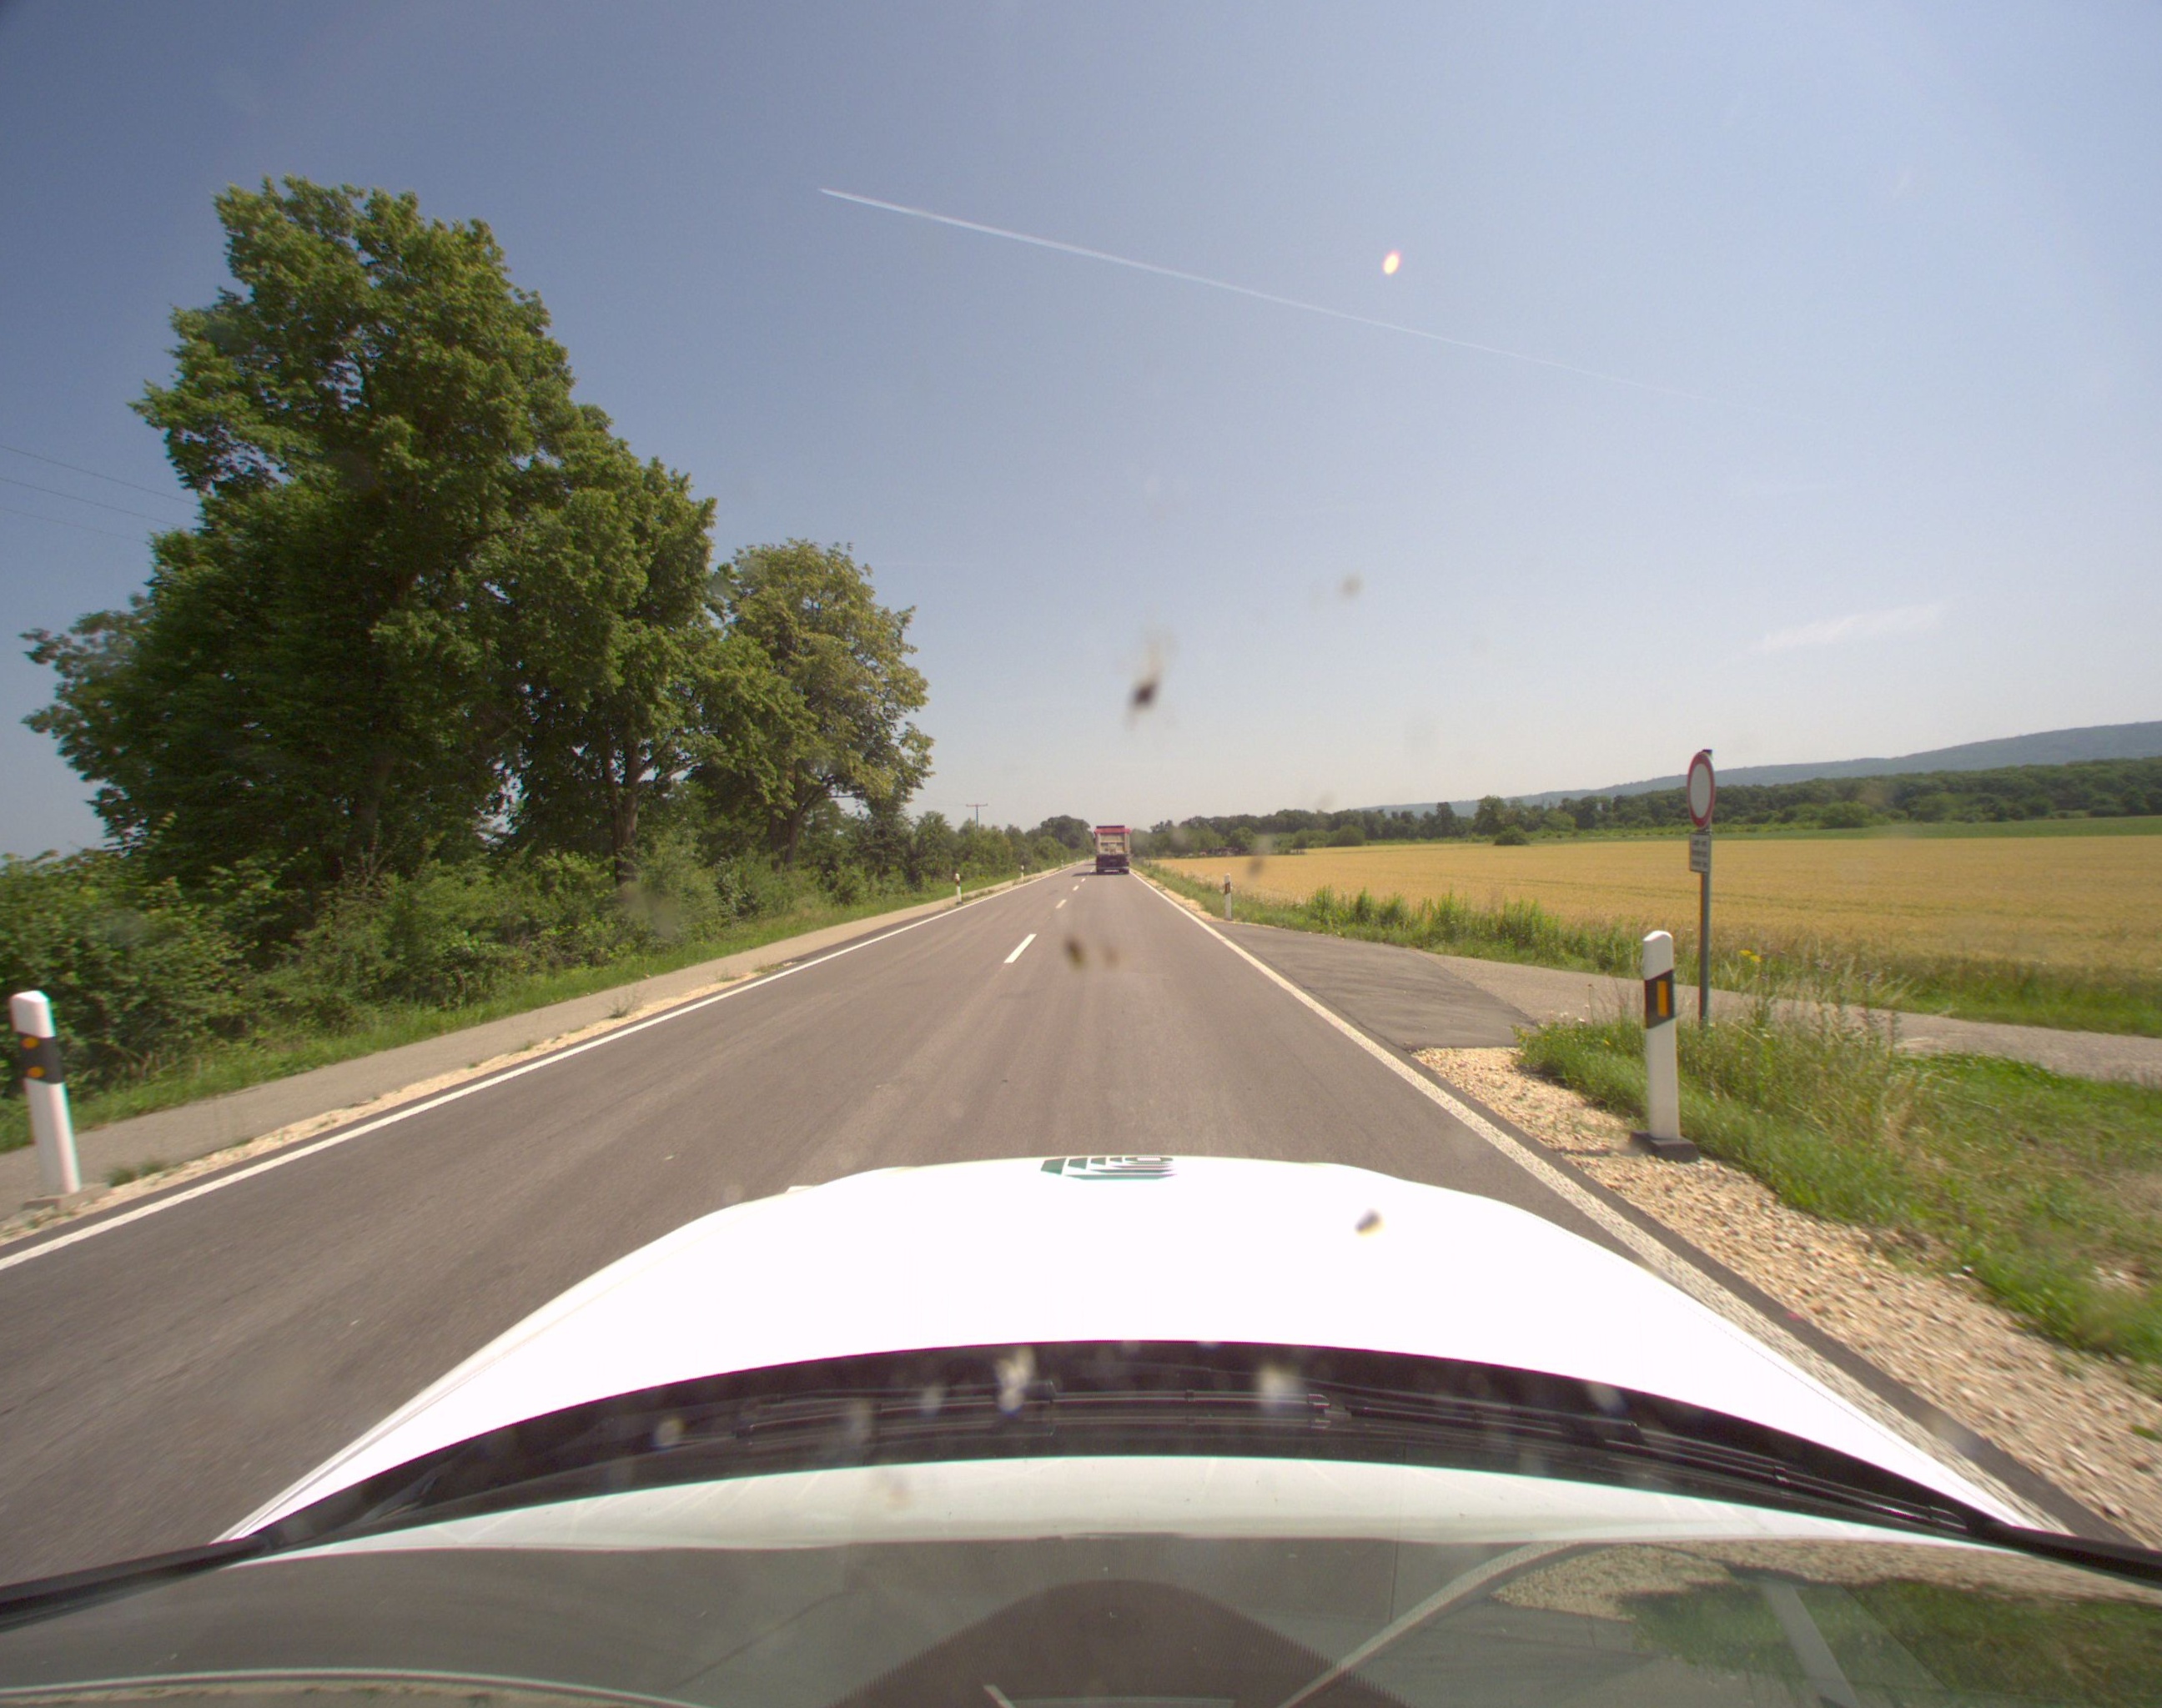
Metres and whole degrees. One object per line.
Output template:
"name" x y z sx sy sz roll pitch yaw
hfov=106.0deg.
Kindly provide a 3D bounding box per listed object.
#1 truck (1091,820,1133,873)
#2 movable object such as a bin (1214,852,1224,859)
"truck" 2.460 -0.512 65.149 2.998 3.874 12.213 0 0 2
"movable object such as a bin" 33.112 0.331 195.397 1.567 1.496 3.655 -2 0 -3
